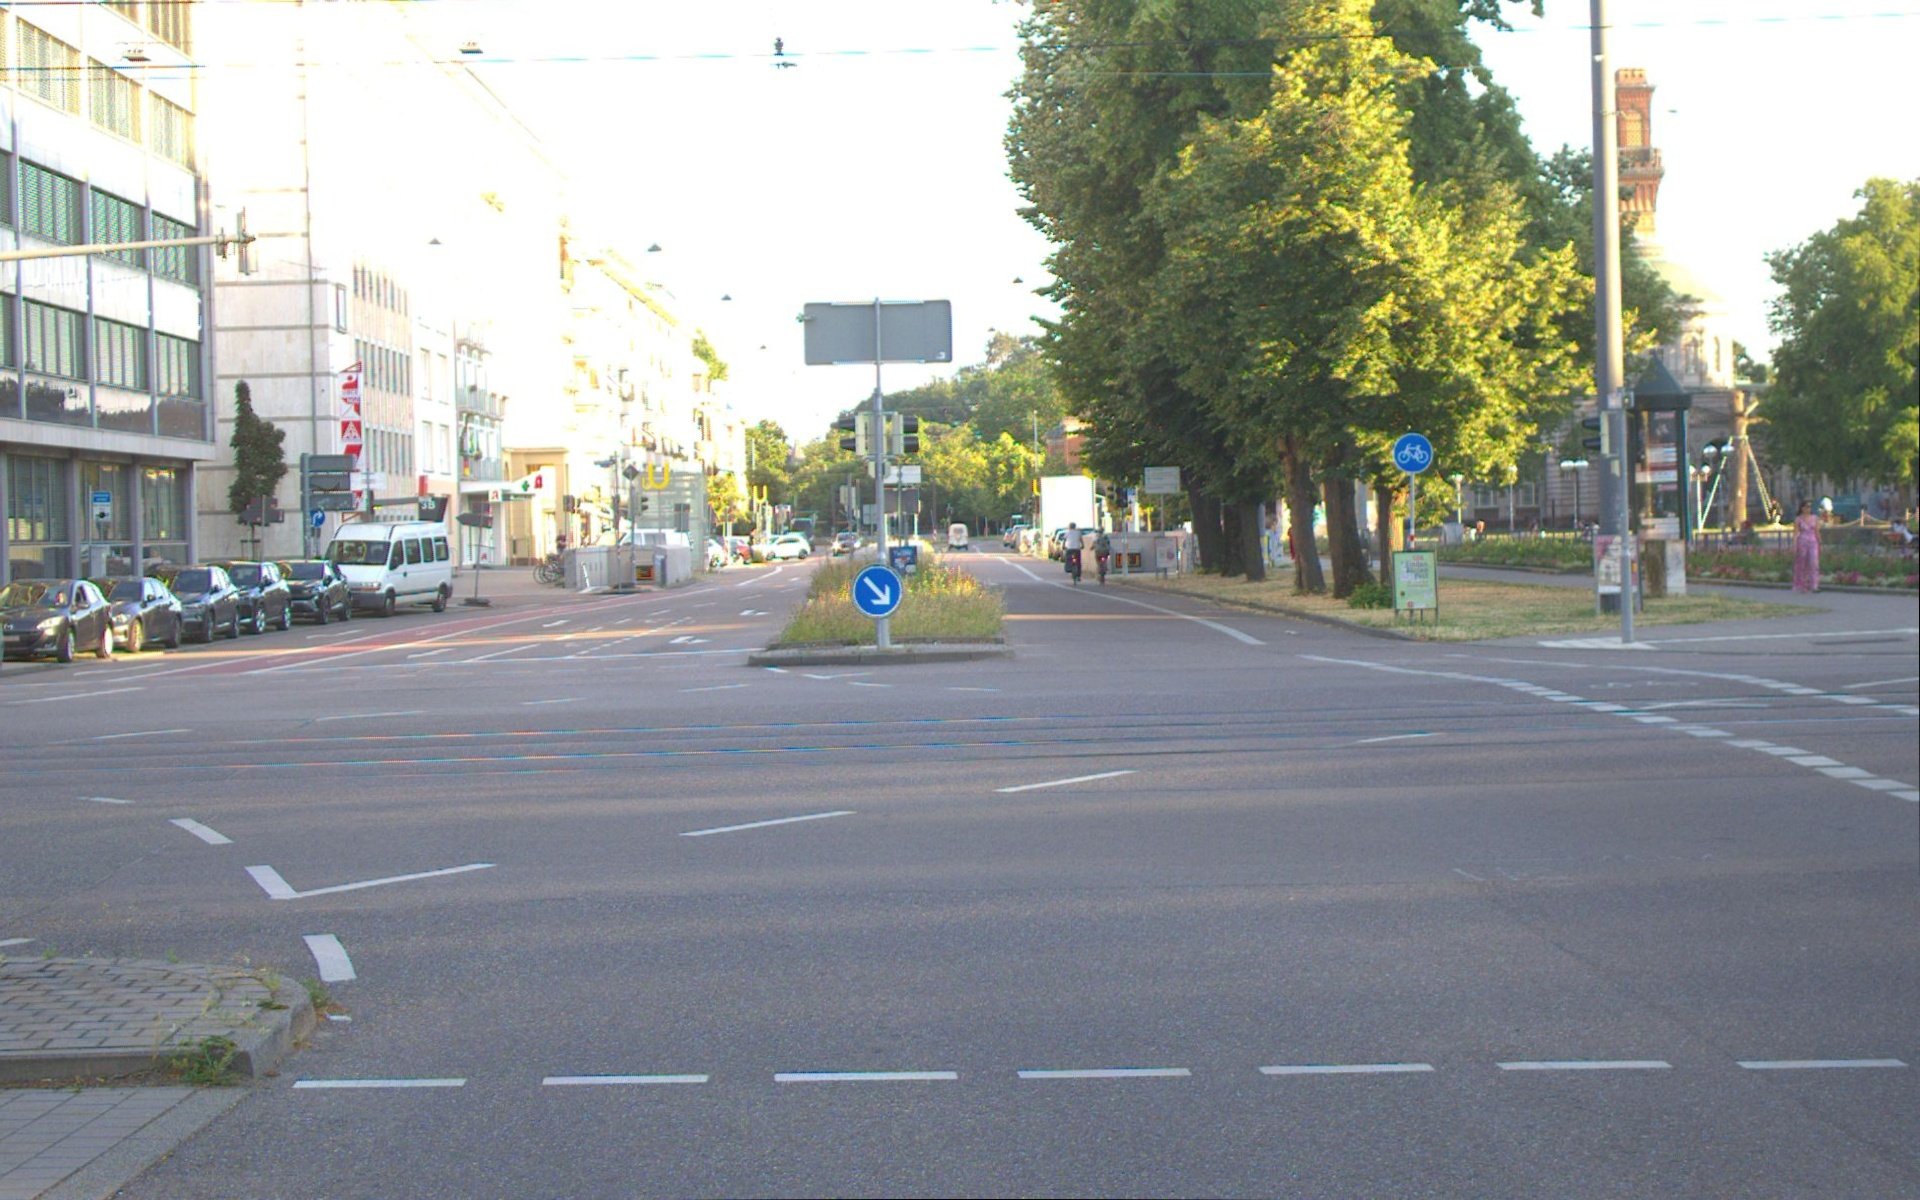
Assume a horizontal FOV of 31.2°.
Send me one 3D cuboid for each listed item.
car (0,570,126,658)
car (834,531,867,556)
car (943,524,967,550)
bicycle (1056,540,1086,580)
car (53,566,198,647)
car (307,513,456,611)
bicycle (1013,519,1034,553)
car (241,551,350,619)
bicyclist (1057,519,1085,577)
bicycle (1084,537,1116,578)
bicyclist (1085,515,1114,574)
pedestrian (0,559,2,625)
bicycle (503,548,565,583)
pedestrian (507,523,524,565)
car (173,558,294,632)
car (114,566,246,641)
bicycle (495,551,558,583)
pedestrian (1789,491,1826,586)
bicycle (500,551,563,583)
[{"bbox_3d":[-16.485,0.237,61.937,1.920,1.459,4.103,-2,1,-1],"label":"car"},{"bbox_3d":[-6.834,-3.554,215.741,1.863,1.514,4.000,-1,1,1],"label":"car"},{"bbox_3d":[-0.336,-4.237,231.104,1.408,1.636,4.000,-2,1,-2],"label":"car"},{"bbox_3d":[3.227,-1.179,100.138,0.746,1.140,2.505,-2,1,-1],"label":"bicycle"},{"bbox_3d":[-16.574,0.107,68.433,1.920,1.459,4.000,-2,1,-1],"label":"car"},{"bbox_3d":[-15.299,-1.048,91.226,2.002,2.469,5.865,-1,1,10],"label":"car"},{"bbox_3d":[3.862,-3.859,208.499,1.002,2.007,4.000,-2,1,-2],"label":"bicycle"},{"bbox_3d":[-16.359,-0.378,84.776,1.920,1.563,4.000,-2,1,-1],"label":"car"},{"bbox_3d":[3.218,-1.520,99.820,0.746,1.658,0.873,-2,1,-1],"label":"bicyclist"},{"bbox_3d":[4.065,-1.244,99.927,0.746,1.140,2.505,-2,1,-1],"label":"bicycle"},{"bbox_3d":[4.051,-1.626,99.925,0.746,1.685,0.799,-2,1,-1],"label":"bicyclist"},{"bbox_3d":[-20.134,-0.306,70.931,0.551,1.673,0.500,-2,1,-1],"label":"pedestrian"},{"bbox_3d":[-15.974,-1.306,128.878,2.205,1.232,0.839,-2,1,-2],"label":"bicycle"},{"bbox_3d":[-21.311,-2.678,164.756,0.680,2.007,0.545,-2,1,0],"label":"pedestrian"},{"bbox_3d":[-16.557,-0.145,78.550,1.920,1.563,4.000,-2,1,-1],"label":"car"},{"bbox_3d":[-16.578,0.058,73.248,1.920,1.459,4.000,-2,1,-1],"label":"car"},{"bbox_3d":[-15.841,-1.215,125.528,2.205,1.108,0.619,-2,1,-2],"label":"bicycle"},{"bbox_3d":[14.877,-1.085,60.370,0.460,1.651,0.567,-1,1,-1],"label":"pedestrian"},{"bbox_3d":[-15.826,-1.225,126.967,2.205,1.108,0.689,-2,1,-2],"label":"bicycle"}]
